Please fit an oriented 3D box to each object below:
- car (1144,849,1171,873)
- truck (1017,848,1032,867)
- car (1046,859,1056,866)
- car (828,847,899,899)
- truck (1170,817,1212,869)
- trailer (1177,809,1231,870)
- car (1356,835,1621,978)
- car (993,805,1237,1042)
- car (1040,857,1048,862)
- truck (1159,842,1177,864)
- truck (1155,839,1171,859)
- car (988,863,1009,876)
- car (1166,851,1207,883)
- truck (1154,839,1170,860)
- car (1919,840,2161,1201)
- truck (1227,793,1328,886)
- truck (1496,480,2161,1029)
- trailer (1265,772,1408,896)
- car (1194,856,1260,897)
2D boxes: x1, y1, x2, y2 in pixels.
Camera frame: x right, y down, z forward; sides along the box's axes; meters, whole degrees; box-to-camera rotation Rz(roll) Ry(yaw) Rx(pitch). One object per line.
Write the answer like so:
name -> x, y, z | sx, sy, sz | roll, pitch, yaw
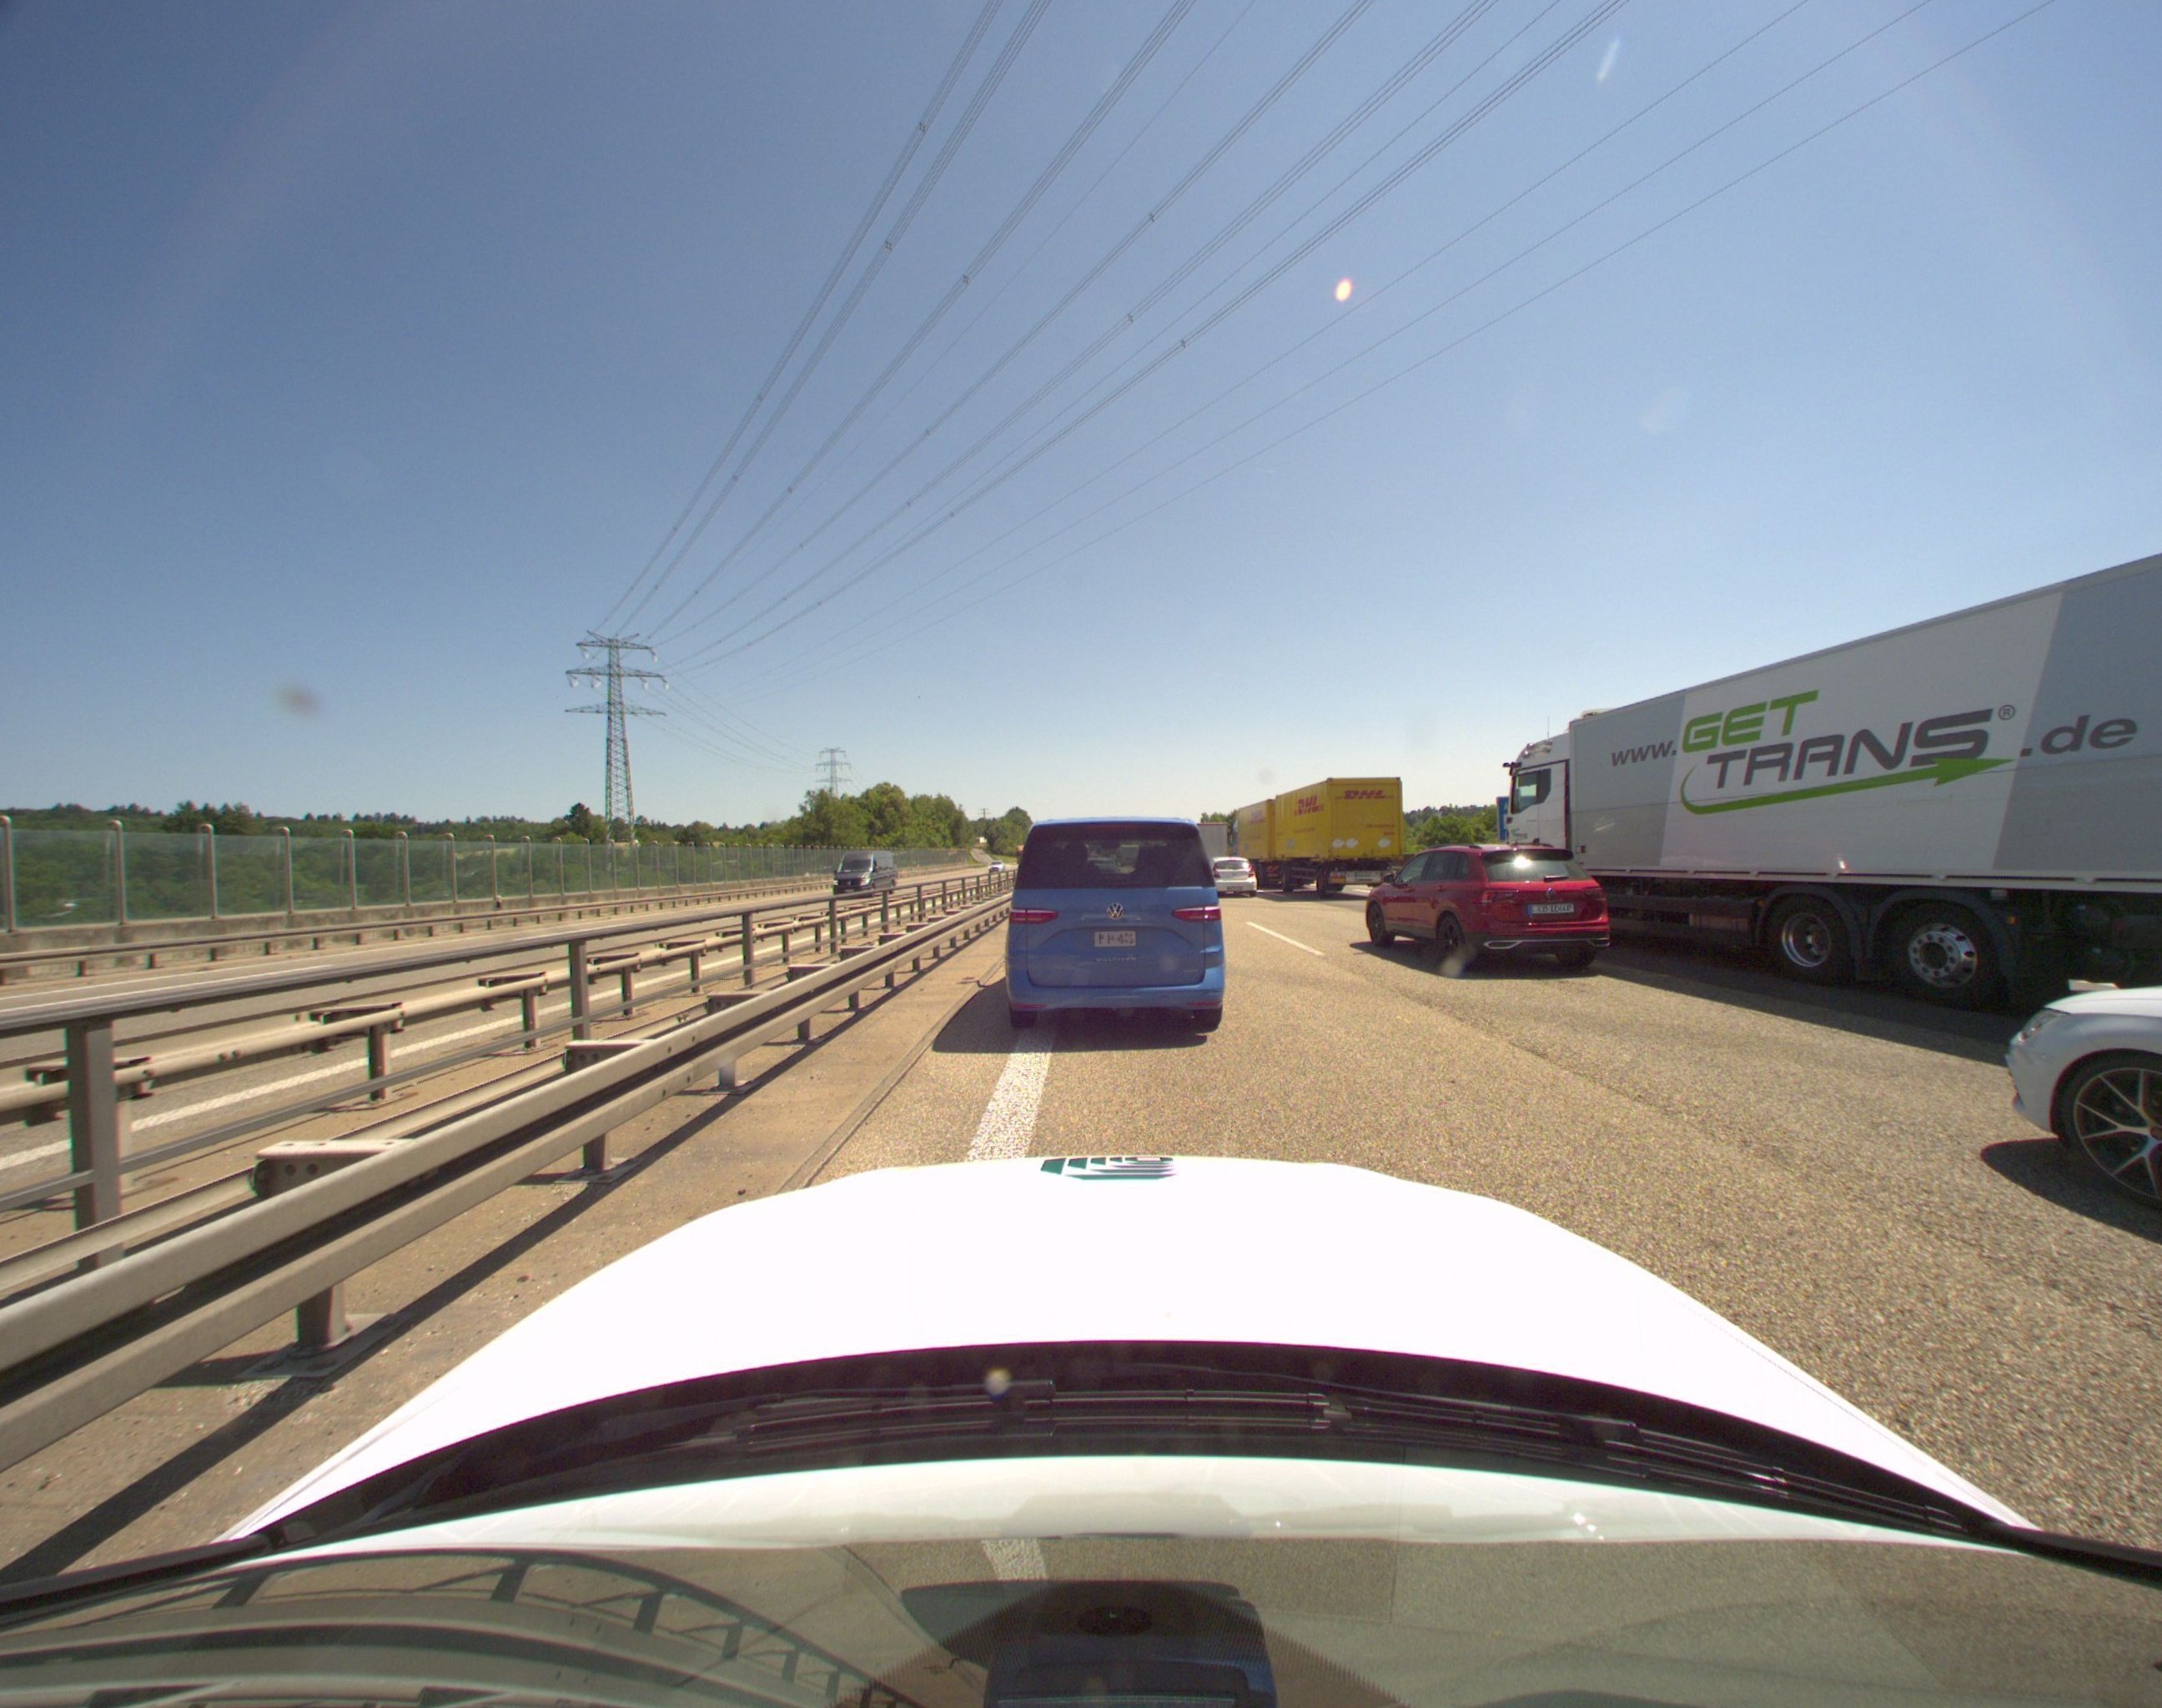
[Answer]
car -> 6.385, 0.581, 68.458 | 1.955, 1.936, 3.933 | 0, -1, 1
truck -> -13.247, 0.827, 192.449 | 2.660, 4.185, 6.292 | -2, -1, 3
car -> -6.772, 1.941, 184.734 | 1.755, 1.508, 4.225 | -3, 0, 2
car -> -11.863, 1.015, 45.037 | 1.987, 2.582, 6.649 | -4, -1, 0
truck -> 10.235, -0.913, 76.496 | 3.015, 4.611, 7.923 | 0, -1, 2
trailer -> 9.947, -1.056, 67.072 | 3.015, 4.611, 10.928 | 0, -1, 2
car -> 5.589, 0.655, 11.875 | 1.703, 1.679, 4.284 | -1, -1, 0
car -> 0.313, 0.577, 8.463 | 1.924, 1.874, 4.001 | 0, -1, 1
car -> -10.634, 1.574, 231.518 | 1.681, 1.303, 4.017 | -4, -1, 4
truck -> 10.080, -0.096, 94.645 | 1.791, 2.449, 4.505 | 0, -1, 1
truck -> 10.929, -0.655, 108.540 | 1.790, 2.596, 4.306 | 0, -1, 1
car -> -10.471, 1.917, 103.254 | 1.986, 1.544, 4.387 | -3, -1, 2
car -> 5.713, 0.714, 44.390 | 1.808, 1.679, 3.933 | 0, -1, 2
truck -> 10.275, -0.578, 103.510 | 1.735, 2.549, 4.211 | 0, -1, 1
car -> 5.168, 0.665, 2.009 | 1.702, 1.451, 4.429 | 0, 0, 1
truck -> 9.530, -0.584, 40.722 | 2.690, 4.088, 9.938 | 0, -1, 0
truck -> 9.243, -0.658, 10.160 | 2.842, 3.934, 10.610 | 0, -1, 1
trailer -> 9.446, -0.612, 31.411 | 2.674, 4.088, 8.978 | 0, -1, 0
car -> 5.525, 0.841, 31.306 | 1.809, 1.470, 3.931 | 0, -1, 0
